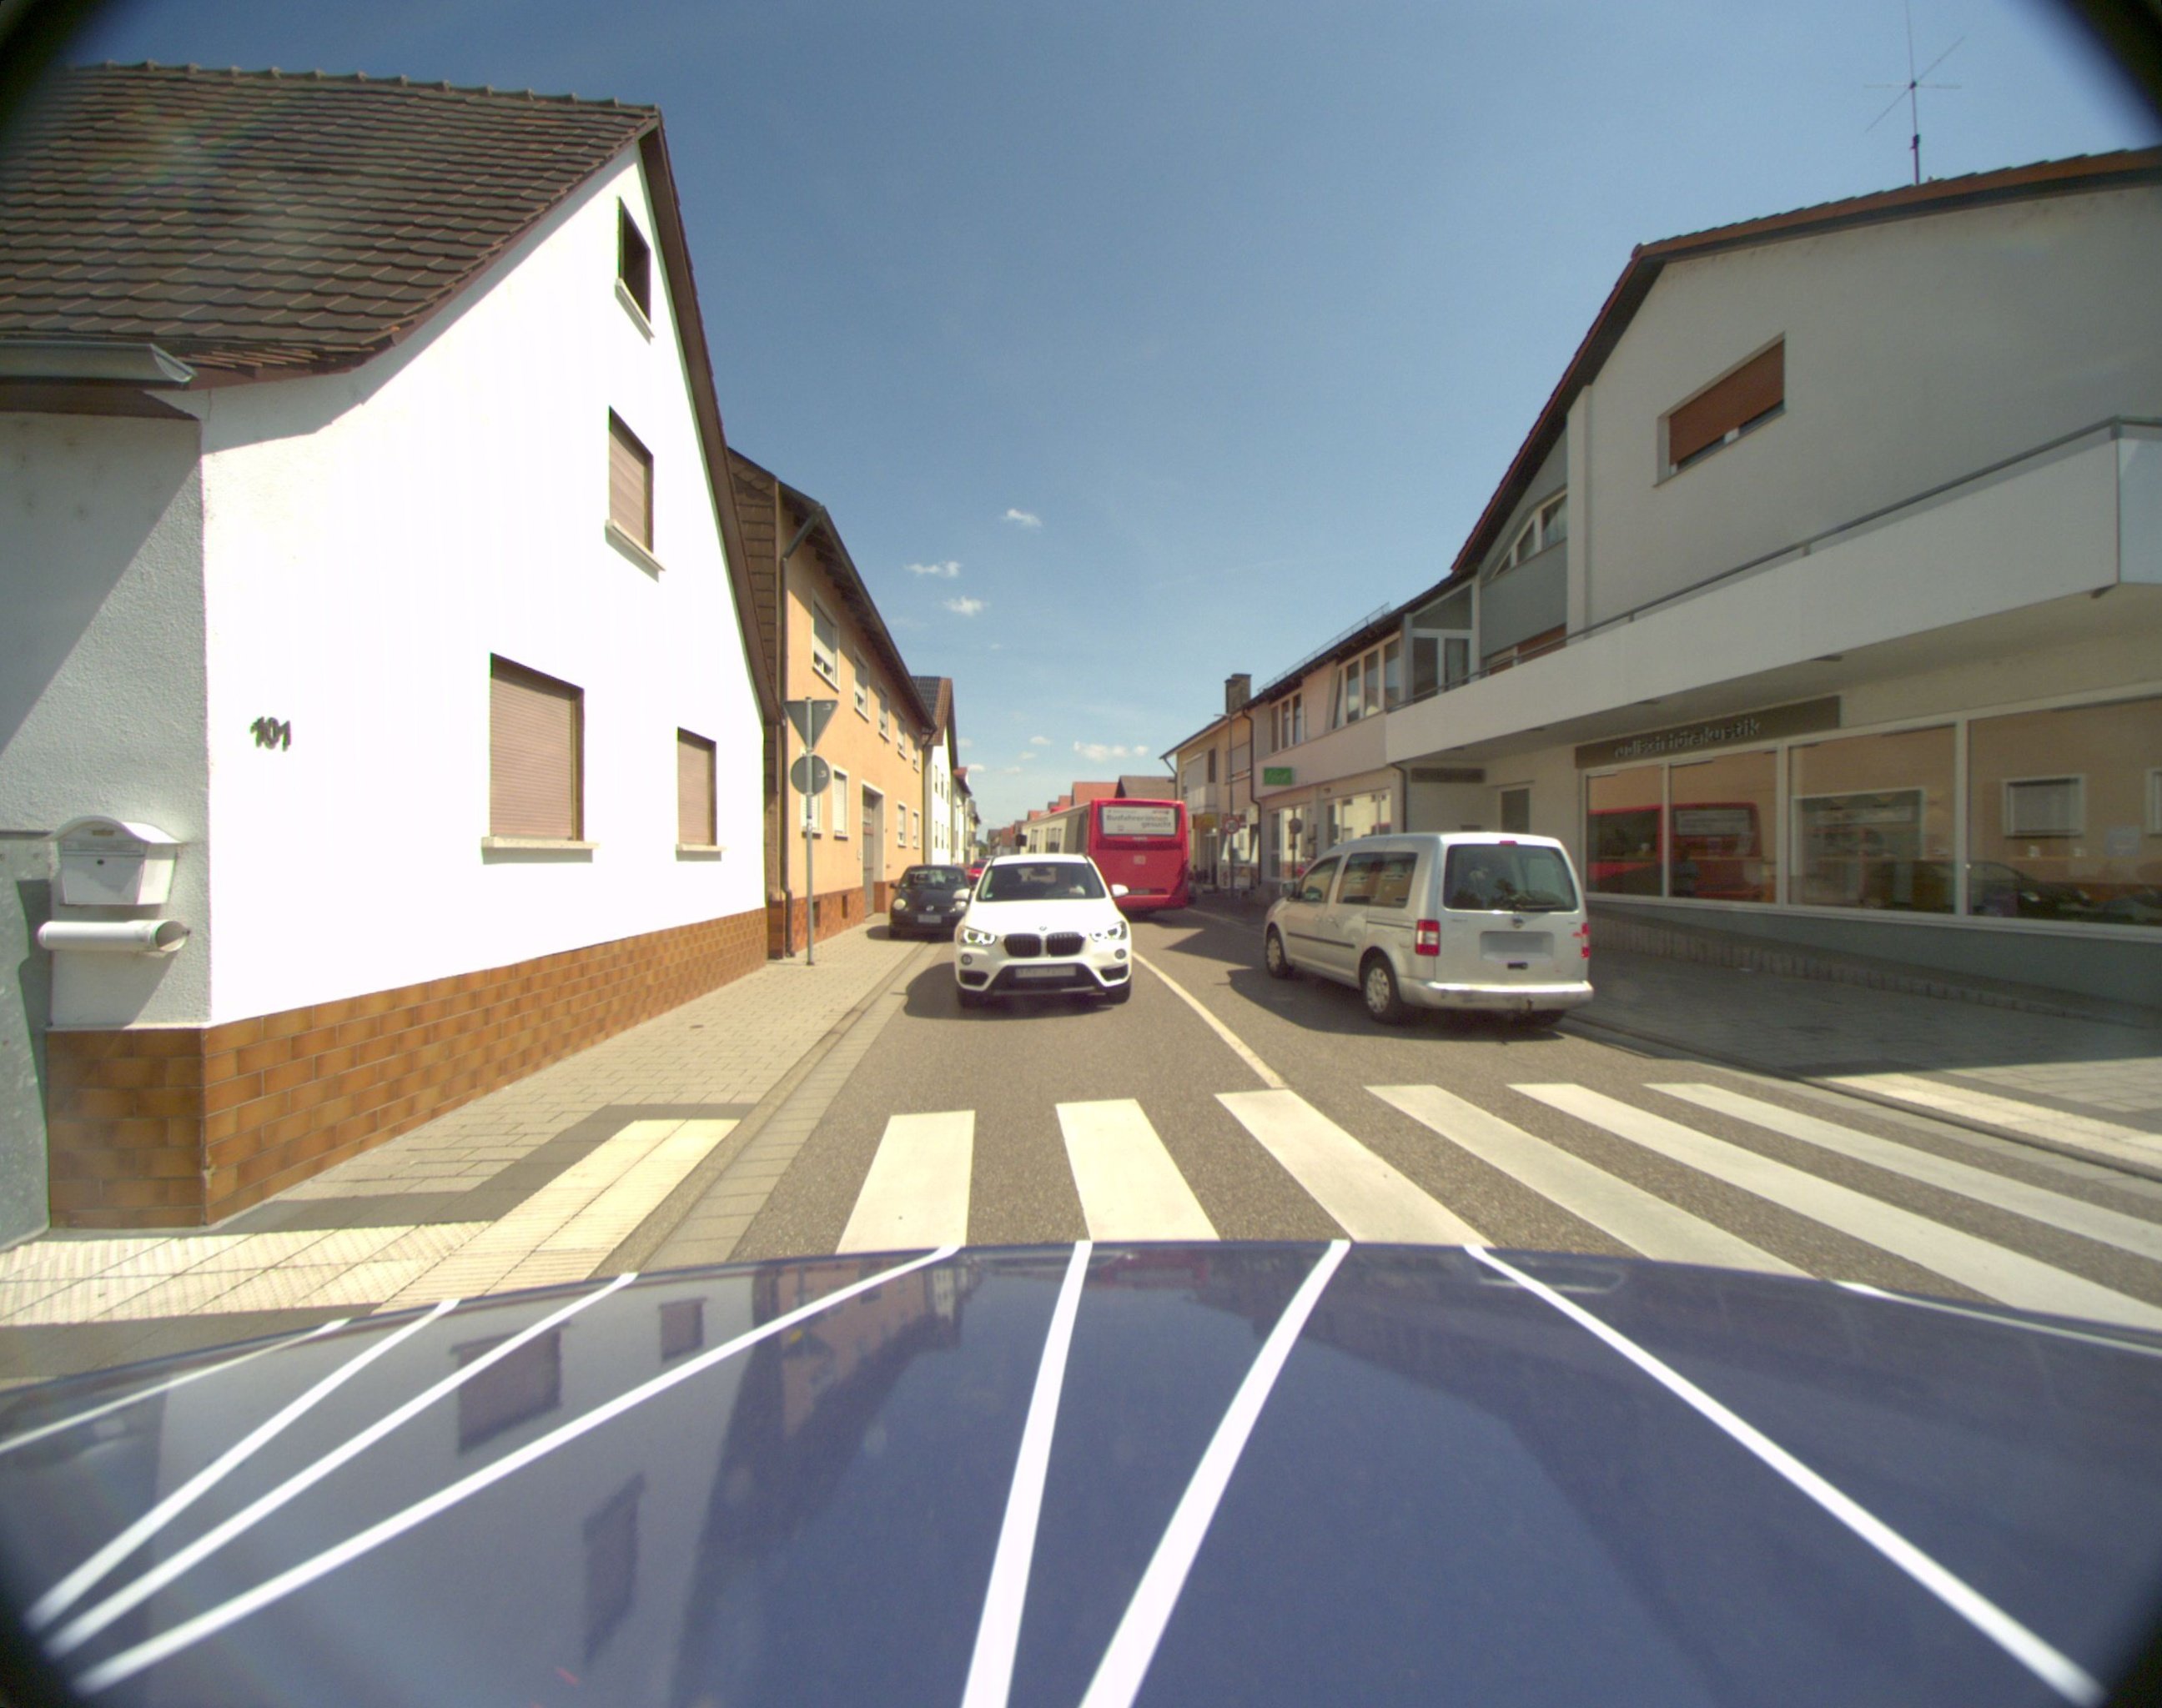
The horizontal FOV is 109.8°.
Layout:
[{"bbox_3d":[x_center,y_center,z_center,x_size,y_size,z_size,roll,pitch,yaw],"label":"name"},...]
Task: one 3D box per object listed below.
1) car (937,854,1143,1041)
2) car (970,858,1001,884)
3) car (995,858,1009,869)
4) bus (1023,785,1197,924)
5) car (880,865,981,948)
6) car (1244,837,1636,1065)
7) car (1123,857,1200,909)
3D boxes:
[{"bbox_3d":[-0.566,0.868,9.224,1.845,1.636,4.372,-2,0,-5],"label":"car"},{"bbox_3d":[-5.577,0.965,44.759,1.765,1.420,4.187,0,0,-6],"label":"car"},{"bbox_3d":[-10.788,1.249,103.769,1.766,1.420,4.186,0,0,-9],"label":"car"},{"bbox_3d":[0.267,0.030,23.793,2.636,3.213,12.010,1,0,-11],"label":"bus"},{"bbox_3d":[-2.999,1.004,15.749,1.691,1.454,3.627,2,0,-6],"label":"car"},{"bbox_3d":[3.398,0.784,8.337,1.777,1.810,4.439,1,0,-7],"label":"car"},{"bbox_3d":[2.754,0.958,26.896,1.749,1.507,3.997,-4,1,-7],"label":"car"}]
